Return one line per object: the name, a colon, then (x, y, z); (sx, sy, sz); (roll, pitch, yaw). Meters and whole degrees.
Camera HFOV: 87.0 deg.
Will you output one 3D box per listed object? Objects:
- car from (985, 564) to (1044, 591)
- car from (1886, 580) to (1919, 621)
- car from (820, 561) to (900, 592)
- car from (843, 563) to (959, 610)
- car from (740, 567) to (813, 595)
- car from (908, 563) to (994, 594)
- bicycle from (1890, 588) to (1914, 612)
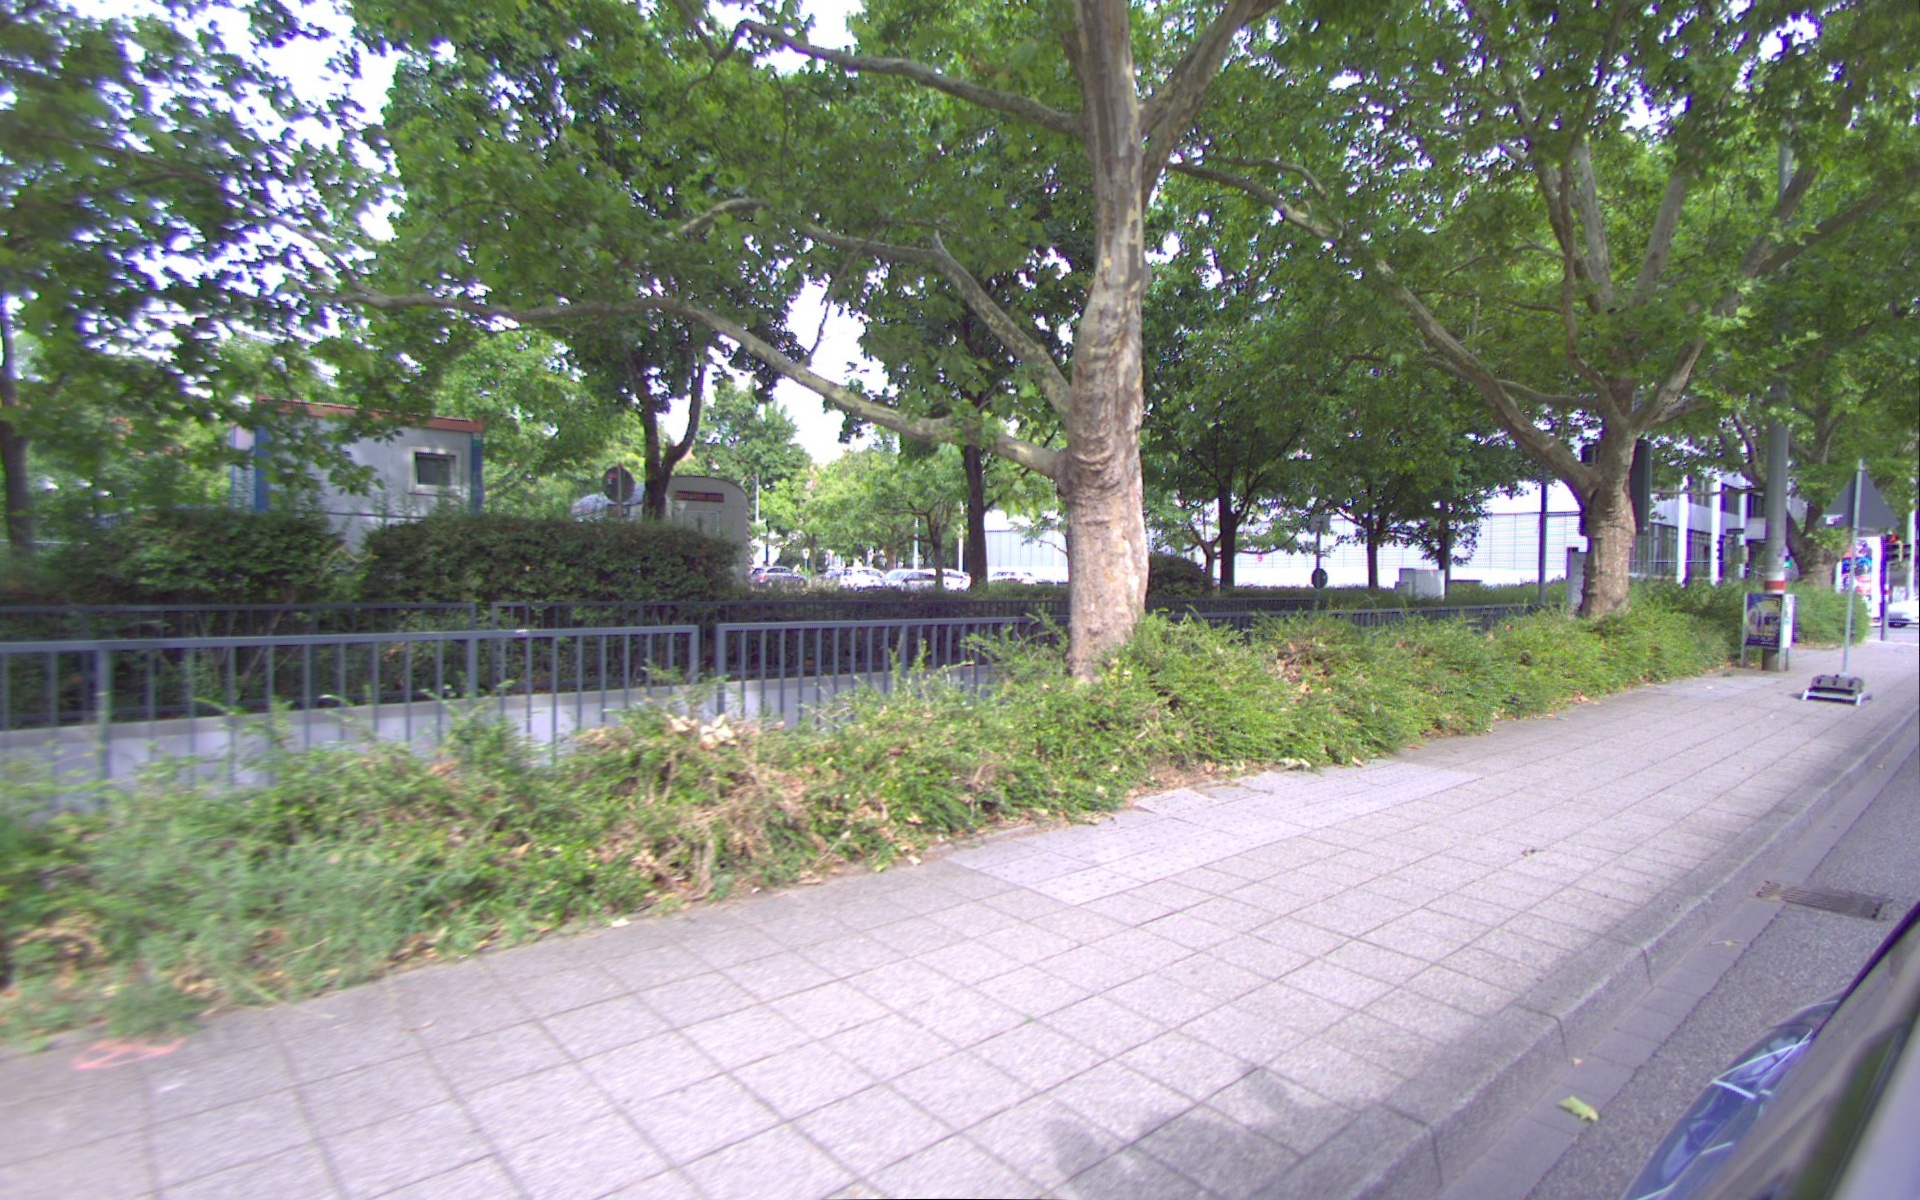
car: (3.877, -1.578, 72.331); (3.860, 1.885, 1.926); (0, 0, 40)
car: (39.010, 0.007, 39.308); (4.431, 1.572, 2.002); (0, 0, -5)
car: (-6.091, -1.407, 62.151); (4.695, 1.817, 1.994); (0, 0, -45)
car: (-2.373, -0.525, 41.670); (1.994, 1.817, 4.696); (0, 0, 45)
car: (-12.555, -1.271, 69.446); (1.994, 1.817, 4.696); (0, 0, 45)
car: (-0.494, -1.197, 57.118); (4.689, 1.651, 1.997); (0, 0, -41)
bicycle: (47.315, 0.002, 50.828); (1.696, 1.184, 0.699); (0, -1, -42)
